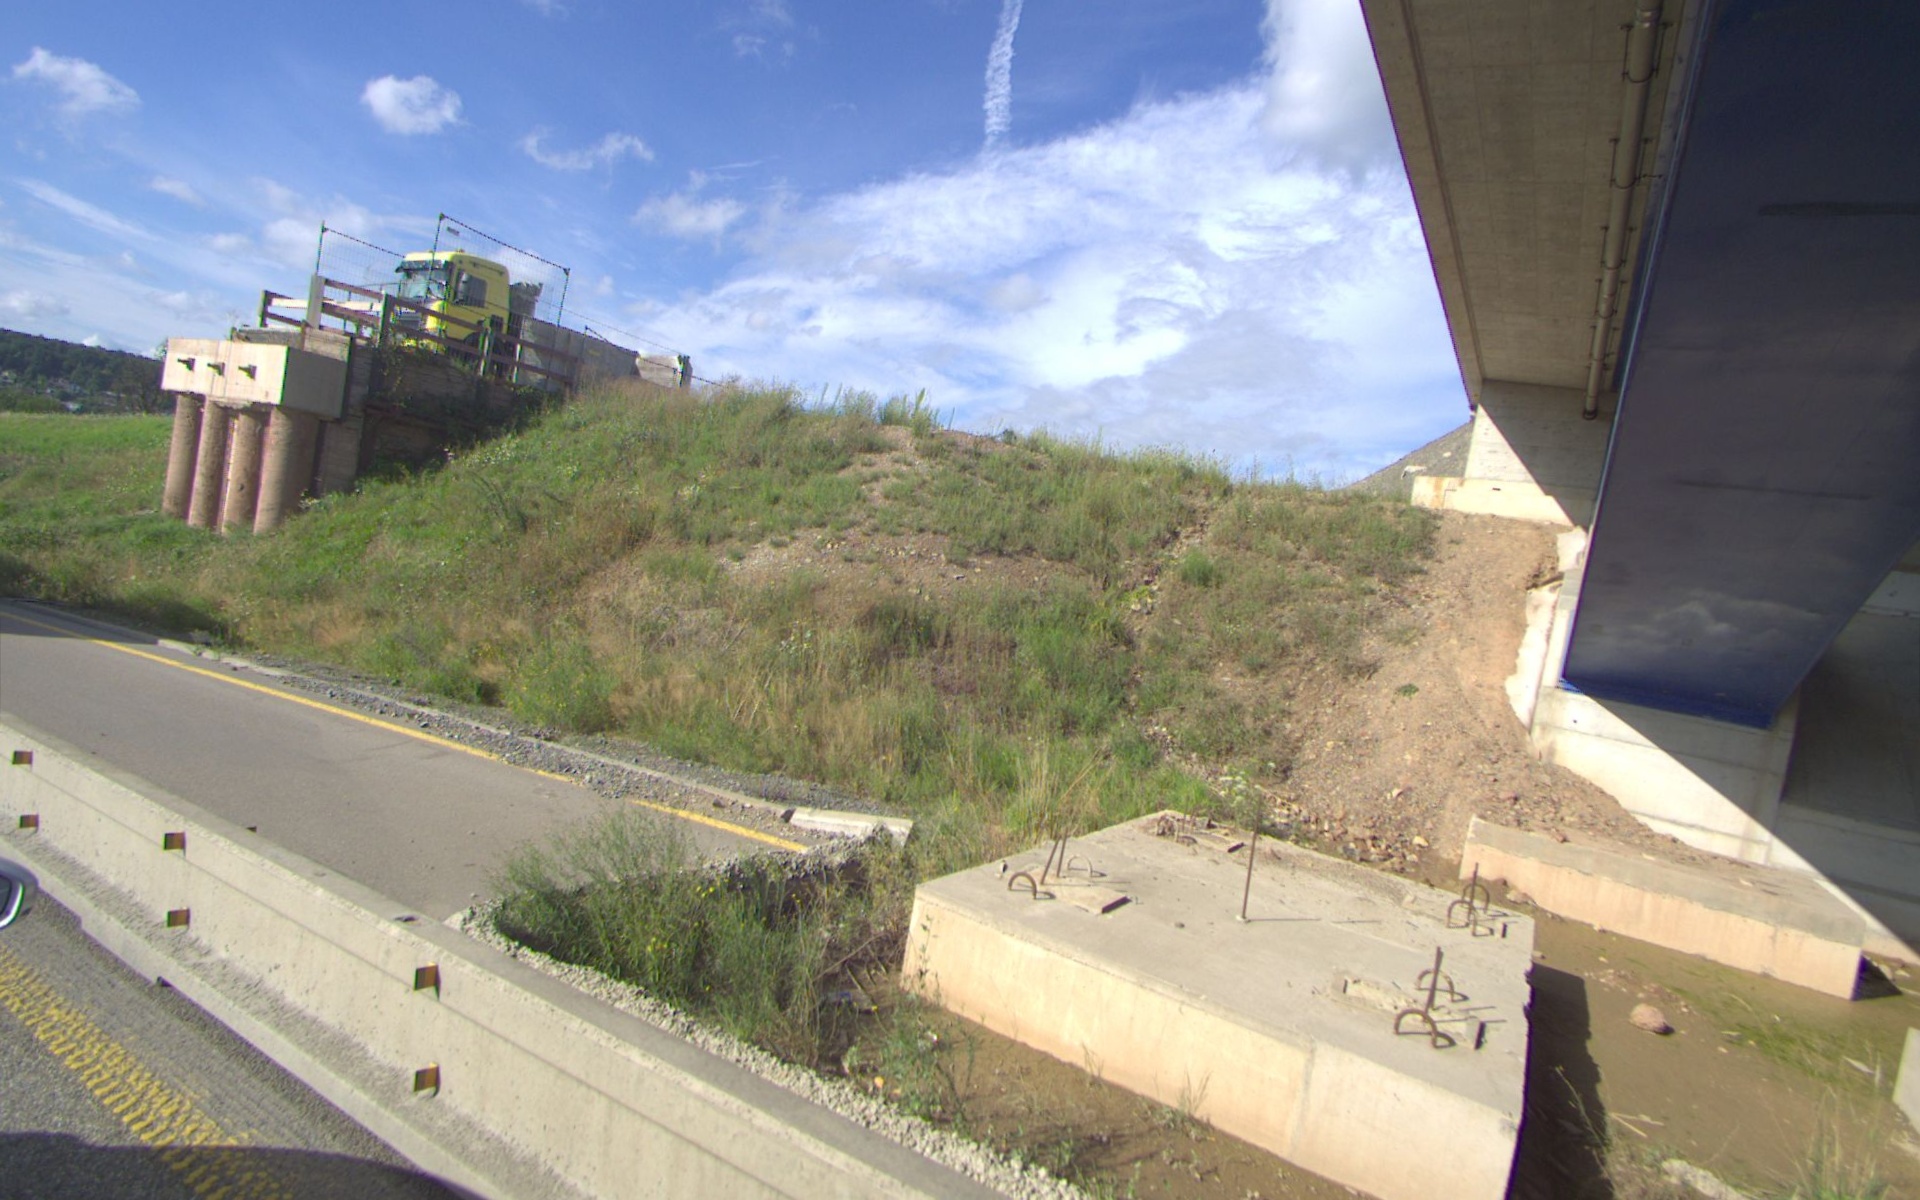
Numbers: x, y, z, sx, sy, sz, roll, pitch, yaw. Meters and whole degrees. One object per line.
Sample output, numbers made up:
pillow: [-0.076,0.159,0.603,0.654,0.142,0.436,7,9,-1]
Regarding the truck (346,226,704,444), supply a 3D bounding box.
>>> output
truck: [-11.985,-7.162,29.058,2.910,3.266,9.280,7,-1,31]
